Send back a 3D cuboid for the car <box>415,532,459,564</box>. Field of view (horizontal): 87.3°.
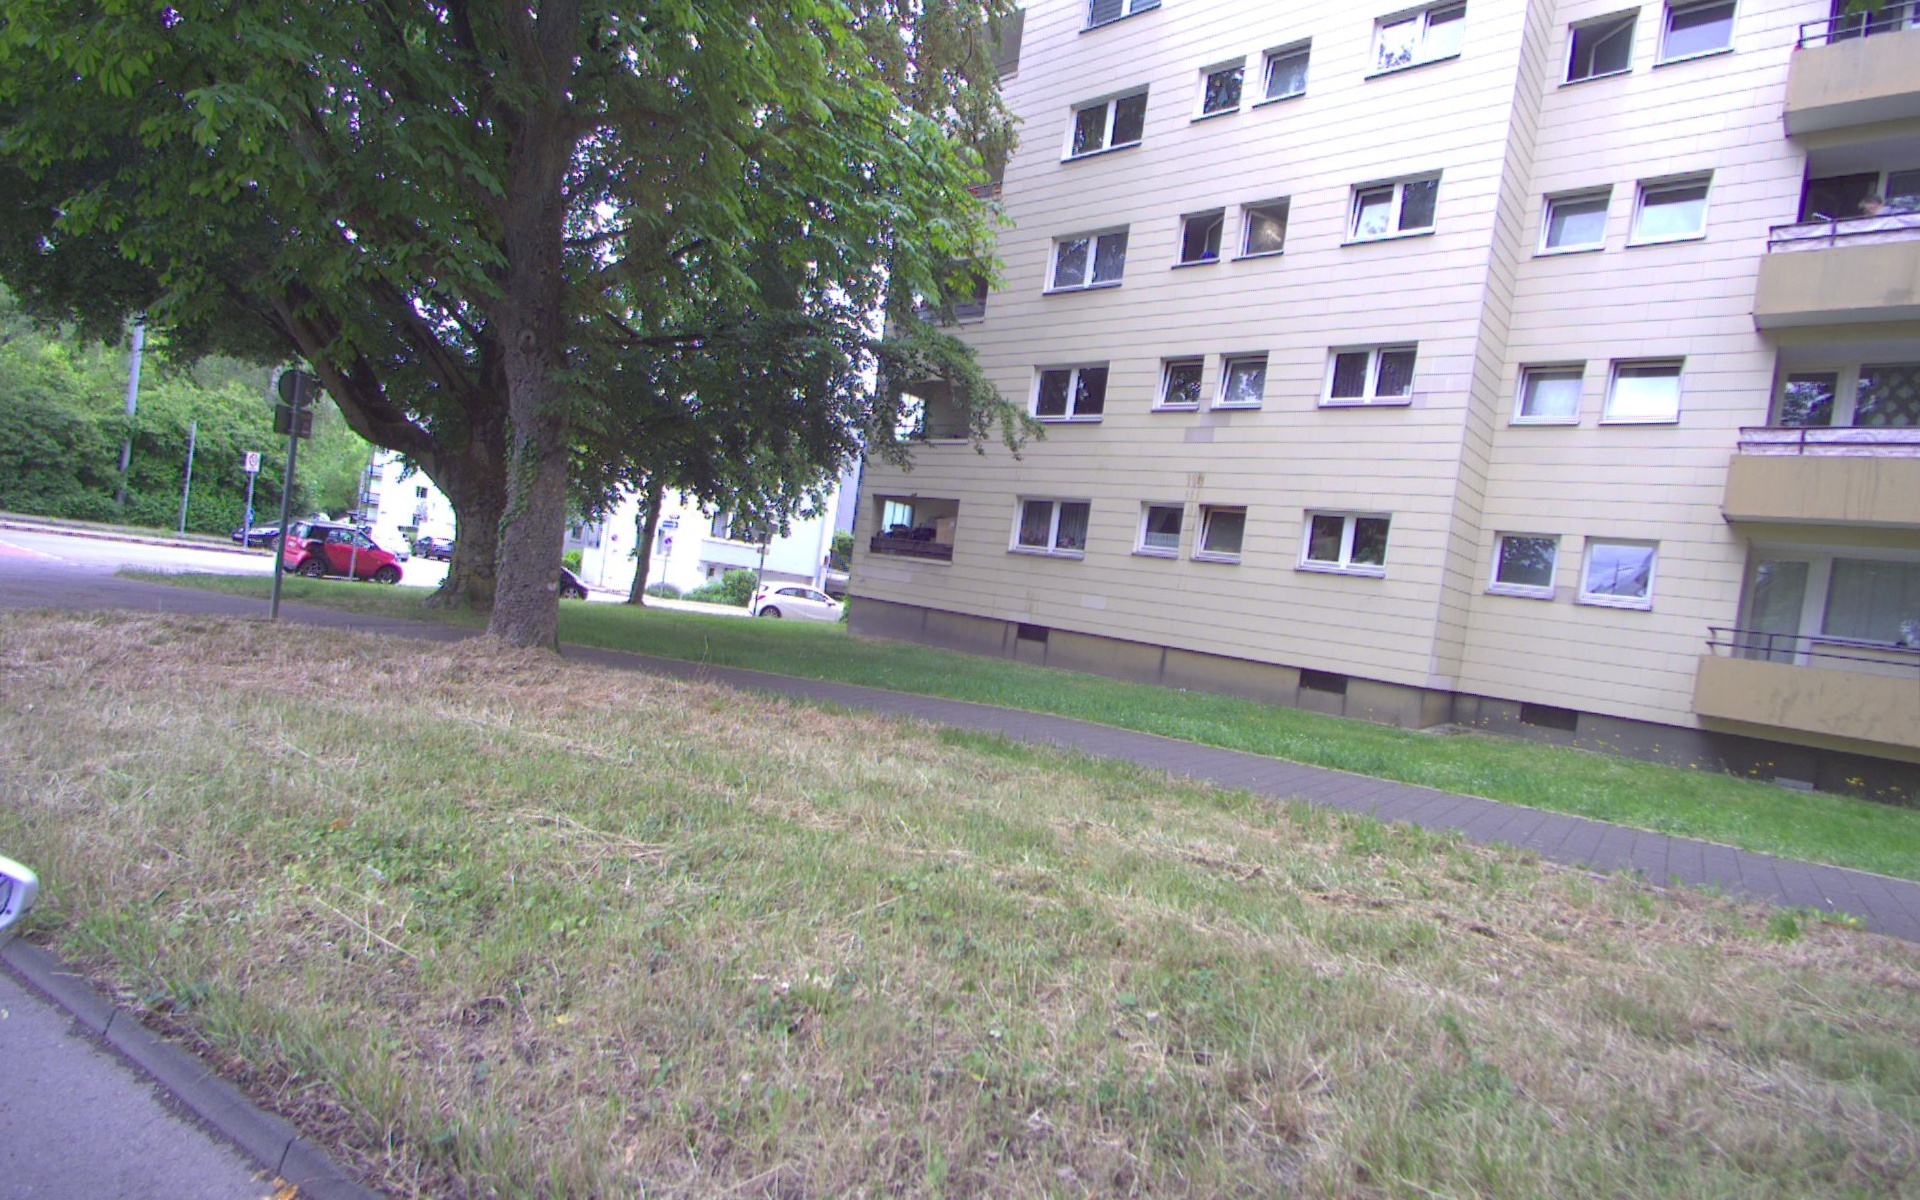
[{"bbox_3d":[-32.842,-3.263,63.149,1.714,1.631,3.812,6,1,-38],"label":"car"}]

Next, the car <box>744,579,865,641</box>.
[{"bbox_3d":[-5.368,0.342,34.664,3.796,1.631,1.721,7,1,-18],"label":"car"}]

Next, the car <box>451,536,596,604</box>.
[{"bbox_3d":[-13.519,-0.923,31.208,3.815,1.631,1.712,6,1,-33],"label":"car"}]

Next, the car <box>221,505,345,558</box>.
[{"bbox_3d":[-25.932,-2.602,38.614,1.702,1.550,3.515,8,1,37],"label":"car"}]

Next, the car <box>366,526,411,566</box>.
[{"bbox_3d":[-27.485,-2.642,48.353,1.709,1.631,3.822,6,1,-30],"label":"car"}]

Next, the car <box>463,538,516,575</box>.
[{"bbox_3d":[-25.849,-2.413,55.254,1.714,1.631,3.812,6,1,-38],"label":"car"}]

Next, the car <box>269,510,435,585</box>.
[{"bbox_3d":[-16.968,-1.436,28.205,1.701,1.631,3.516,8,1,36],"label":"car"}]
